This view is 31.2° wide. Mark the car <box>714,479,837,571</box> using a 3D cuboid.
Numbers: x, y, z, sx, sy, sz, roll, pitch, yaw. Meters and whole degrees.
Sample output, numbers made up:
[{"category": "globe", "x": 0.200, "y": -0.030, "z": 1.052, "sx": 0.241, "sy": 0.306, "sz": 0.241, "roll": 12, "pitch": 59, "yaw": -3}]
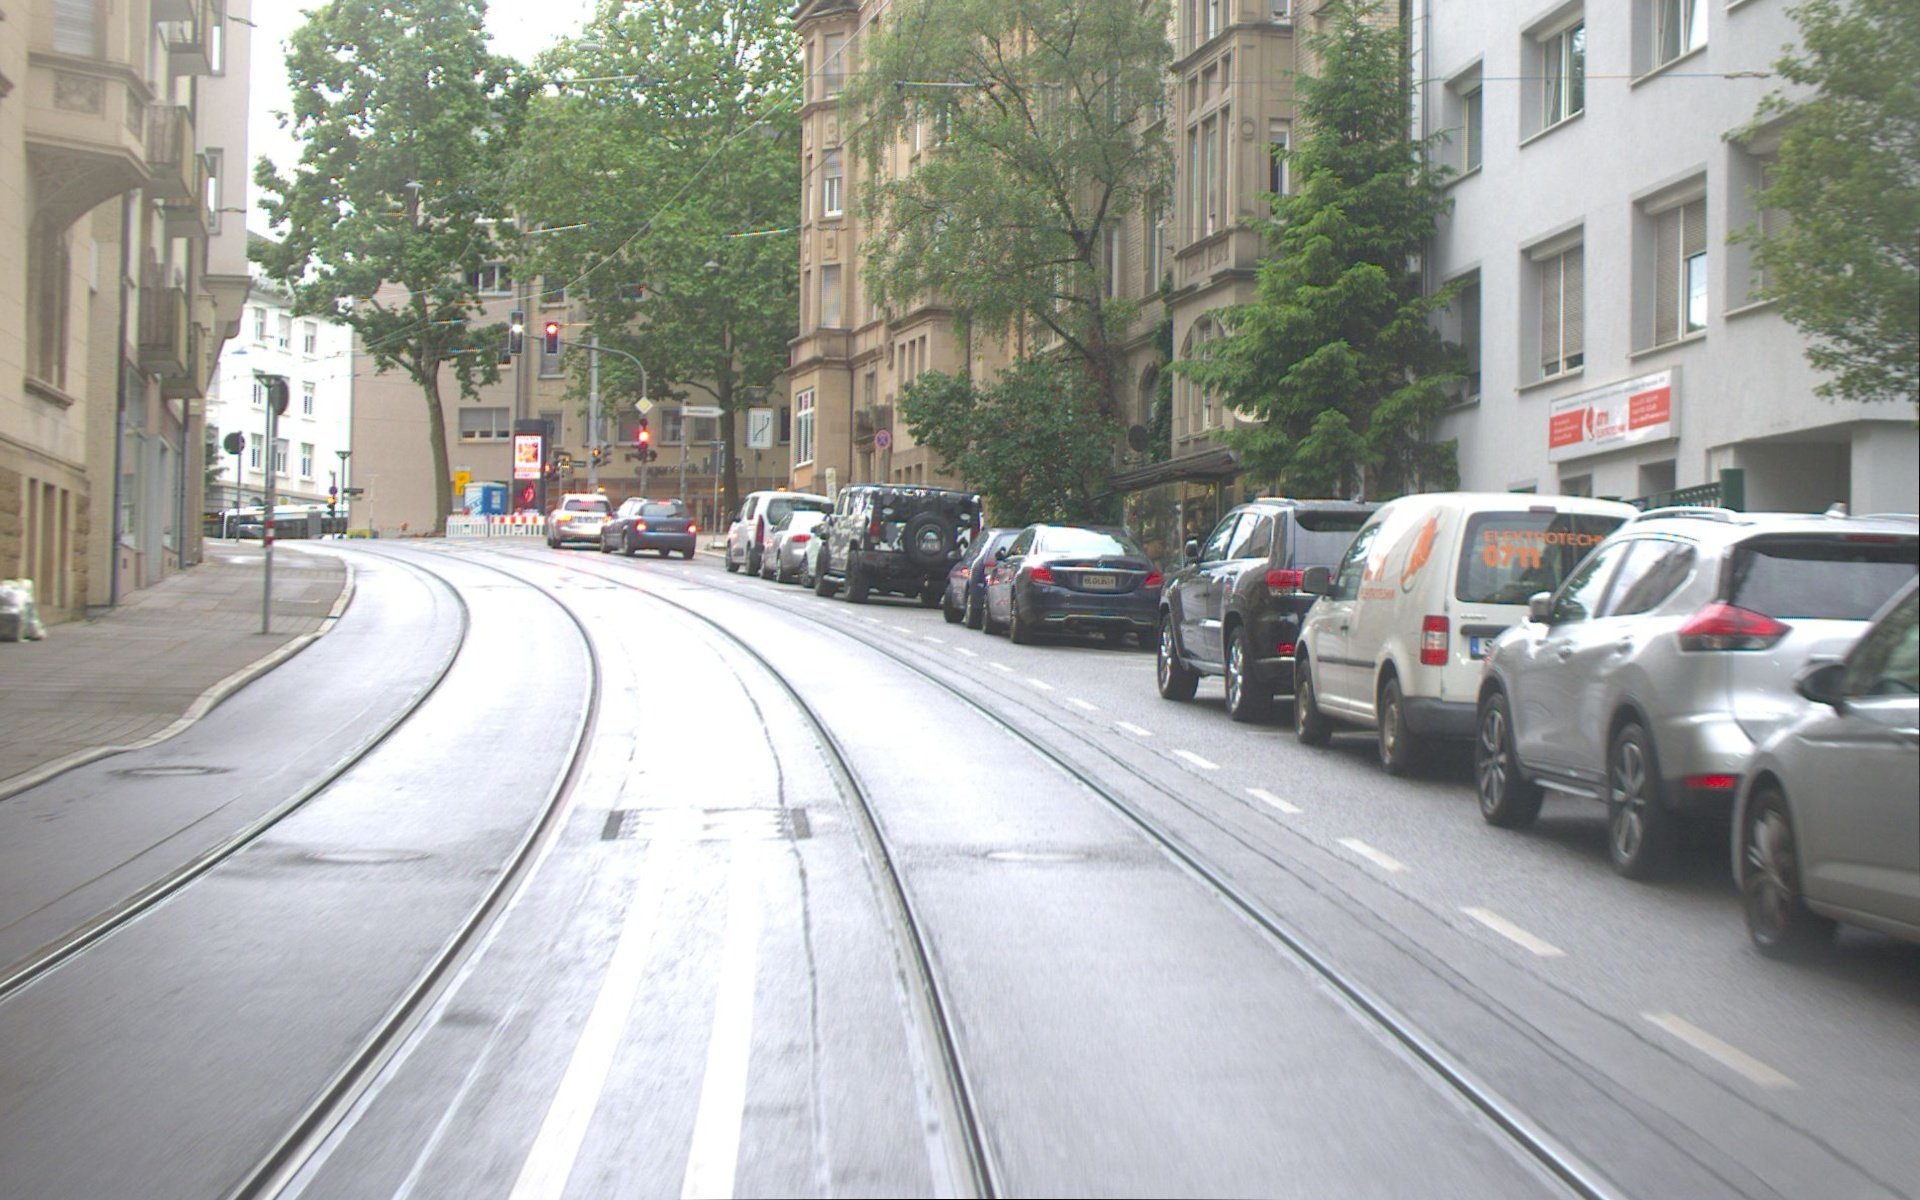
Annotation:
[{"category": "car", "x": -3.927, "y": -1.614, "z": 72.494, "sx": 1.797, "sy": 1.759, "sz": 4.464, "roll": 3, "pitch": 1, "yaw": -12}]

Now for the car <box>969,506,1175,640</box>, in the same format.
[{"category": "car", "x": 1.300, "y": -0.371, "z": 42.015, "sx": 1.794, "sy": 1.432, "sz": 4.612, "roll": 2, "pitch": 2, "yaw": -7}]

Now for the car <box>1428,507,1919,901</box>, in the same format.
[{"category": "car", "x": 3.781, "y": 0.409, "z": 17.129, "sx": 1.832, "sy": 1.650, "sz": 4.688, "roll": 2, "pitch": 1, "yaw": -5}]

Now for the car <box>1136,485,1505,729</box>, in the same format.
[{"category": "car", "x": 2.892, "y": -0.003, "z": 28.758, "sx": 1.942, "sy": 1.789, "sz": 4.822, "roll": 2, "pitch": 1, "yaw": -7}]

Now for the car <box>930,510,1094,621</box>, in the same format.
[{"category": "car", "x": 0.662, "y": -0.496, "z": 46.570, "sx": 1.678, "sy": 1.333, "sz": 3.884, "roll": 2, "pitch": 2, "yaw": -7}]

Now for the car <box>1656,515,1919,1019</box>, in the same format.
[{"category": "car", "x": 3.990, "y": 0.561, "z": 11.652, "sx": 1.831, "sy": 1.622, "sz": 4.665, "roll": 2, "pitch": 1, "yaw": -6}]

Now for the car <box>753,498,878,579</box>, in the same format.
[{"category": "car", "x": -2.861, "y": -1.234, "z": 67.324, "sx": 1.748, "sy": 1.395, "sz": 4.480, "roll": 3, "pitch": 1, "yaw": -11}]

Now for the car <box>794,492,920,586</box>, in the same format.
[{"category": "car", "x": -1.902, "y": -1.124, "z": 62.422, "sx": 1.559, "sy": 1.540, "sz": 3.586, "roll": 3, "pitch": 1, "yaw": -13}]

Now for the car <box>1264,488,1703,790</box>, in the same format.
[{"category": "car", "x": 3.430, "y": 0.189, "z": 23.406, "sx": 1.778, "sy": 1.789, "sz": 4.472, "roll": 2, "pitch": 1, "yaw": -6}]

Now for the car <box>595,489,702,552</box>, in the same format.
[{"category": "car", "x": -7.853, "y": -2.009, "z": 86.280, "sx": 1.710, "sy": 1.410, "sz": 4.038, "roll": 2, "pitch": 2, "yaw": -19}]

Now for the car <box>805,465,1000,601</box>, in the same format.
[{"category": "car", "x": -1.016, "y": -1.146, "z": 56.484, "sx": 2.128, "sy": 2.006, "sz": 5.352, "roll": 3, "pitch": 1, "yaw": -12}]

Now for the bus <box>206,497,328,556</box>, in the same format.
[{"category": "bus", "x": -35.131, "y": -3.789, "z": 174.682, "sx": 2.856, "sy": 2.851, "sz": 8.729, "roll": 1, "pitch": 2, "yaw": 12}]

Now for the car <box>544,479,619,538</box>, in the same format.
[{"category": "car", "x": -10.155, "y": -2.462, "z": 92.002, "sx": 1.710, "sy": 1.451, "sz": 3.554, "roll": 2, "pitch": 2, "yaw": -10}]
